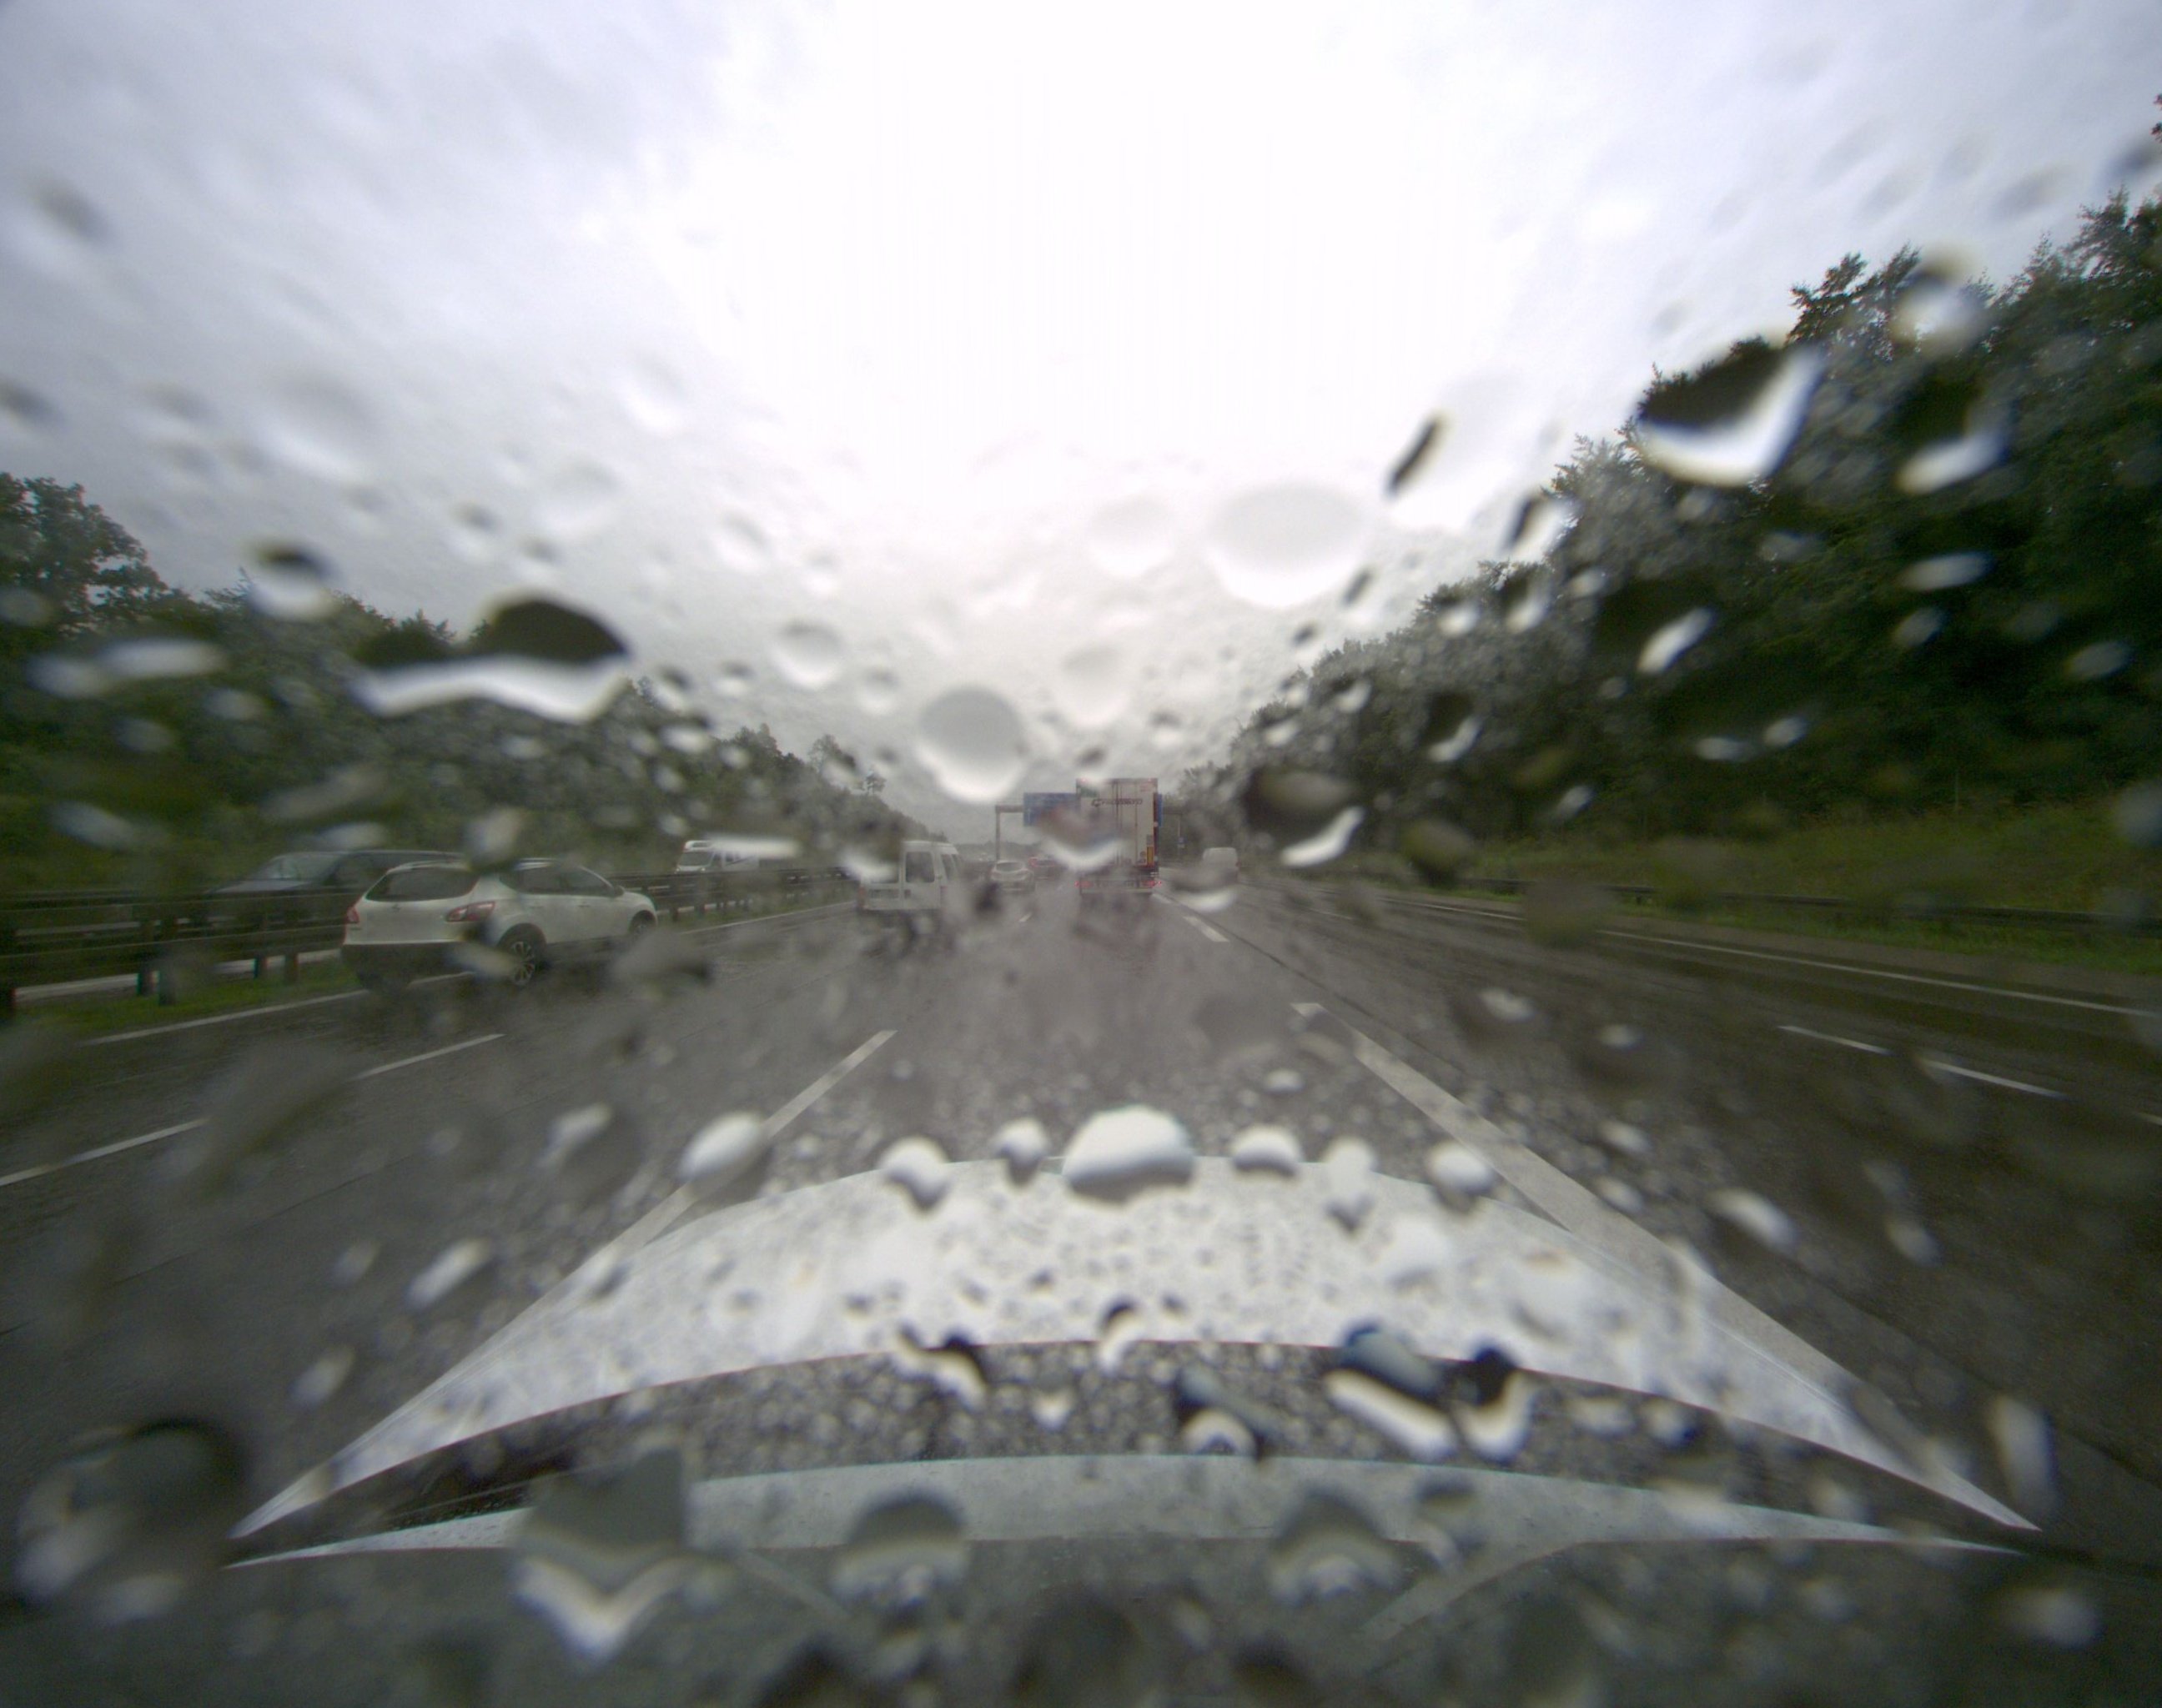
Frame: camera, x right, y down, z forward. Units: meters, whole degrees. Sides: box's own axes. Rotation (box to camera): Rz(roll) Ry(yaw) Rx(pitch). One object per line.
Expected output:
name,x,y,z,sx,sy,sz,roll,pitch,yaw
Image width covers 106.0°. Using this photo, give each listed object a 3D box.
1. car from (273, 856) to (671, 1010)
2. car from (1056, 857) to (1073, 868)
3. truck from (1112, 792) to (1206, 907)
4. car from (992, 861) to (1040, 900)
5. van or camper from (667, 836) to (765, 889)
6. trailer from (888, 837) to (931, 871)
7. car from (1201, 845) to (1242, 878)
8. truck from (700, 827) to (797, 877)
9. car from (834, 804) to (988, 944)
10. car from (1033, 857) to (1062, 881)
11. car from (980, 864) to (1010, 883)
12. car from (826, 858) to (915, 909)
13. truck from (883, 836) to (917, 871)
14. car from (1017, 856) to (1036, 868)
car,-7.600,0.847,10.889,1.838,1.591,4.469,-1,0,2
car,-1.965,1.021,98.479,1.839,1.330,4.468,-1,0,1
truck,2.812,-0.106,30.965,2.859,3.562,11.313,-1,0,4
car,-2.934,1.157,37.300,1.840,1.591,4.071,-1,0,0
van or camper,-21.550,0.487,48.620,2.159,2.870,8.003,-1,0,1
trailer,-21.343,0.015,102.505,2.532,4.025,13.847,0,0,0
car,8.642,0.419,50.412,1.981,1.921,4.771,-1,0,3
truck,-25.284,-0.124,62.758,2.510,3.483,11.721,-1,0,1
car,-3.441,0.358,17.652,2.205,2.573,5.016,-1,0,1
car,-2.371,1.043,58.083,1.839,1.591,4.466,-1,0,0
car,-6.775,1.516,64.593,1.839,1.330,4.468,-1,0,1
car,-7.385,0.984,29.092,1.838,1.591,4.469,-1,0,2
truck,-21.275,-0.044,96.010,2.532,4.025,6.324,0,0,0
car,-6.402,0.882,95.986,1.839,1.330,4.468,-1,0,1
